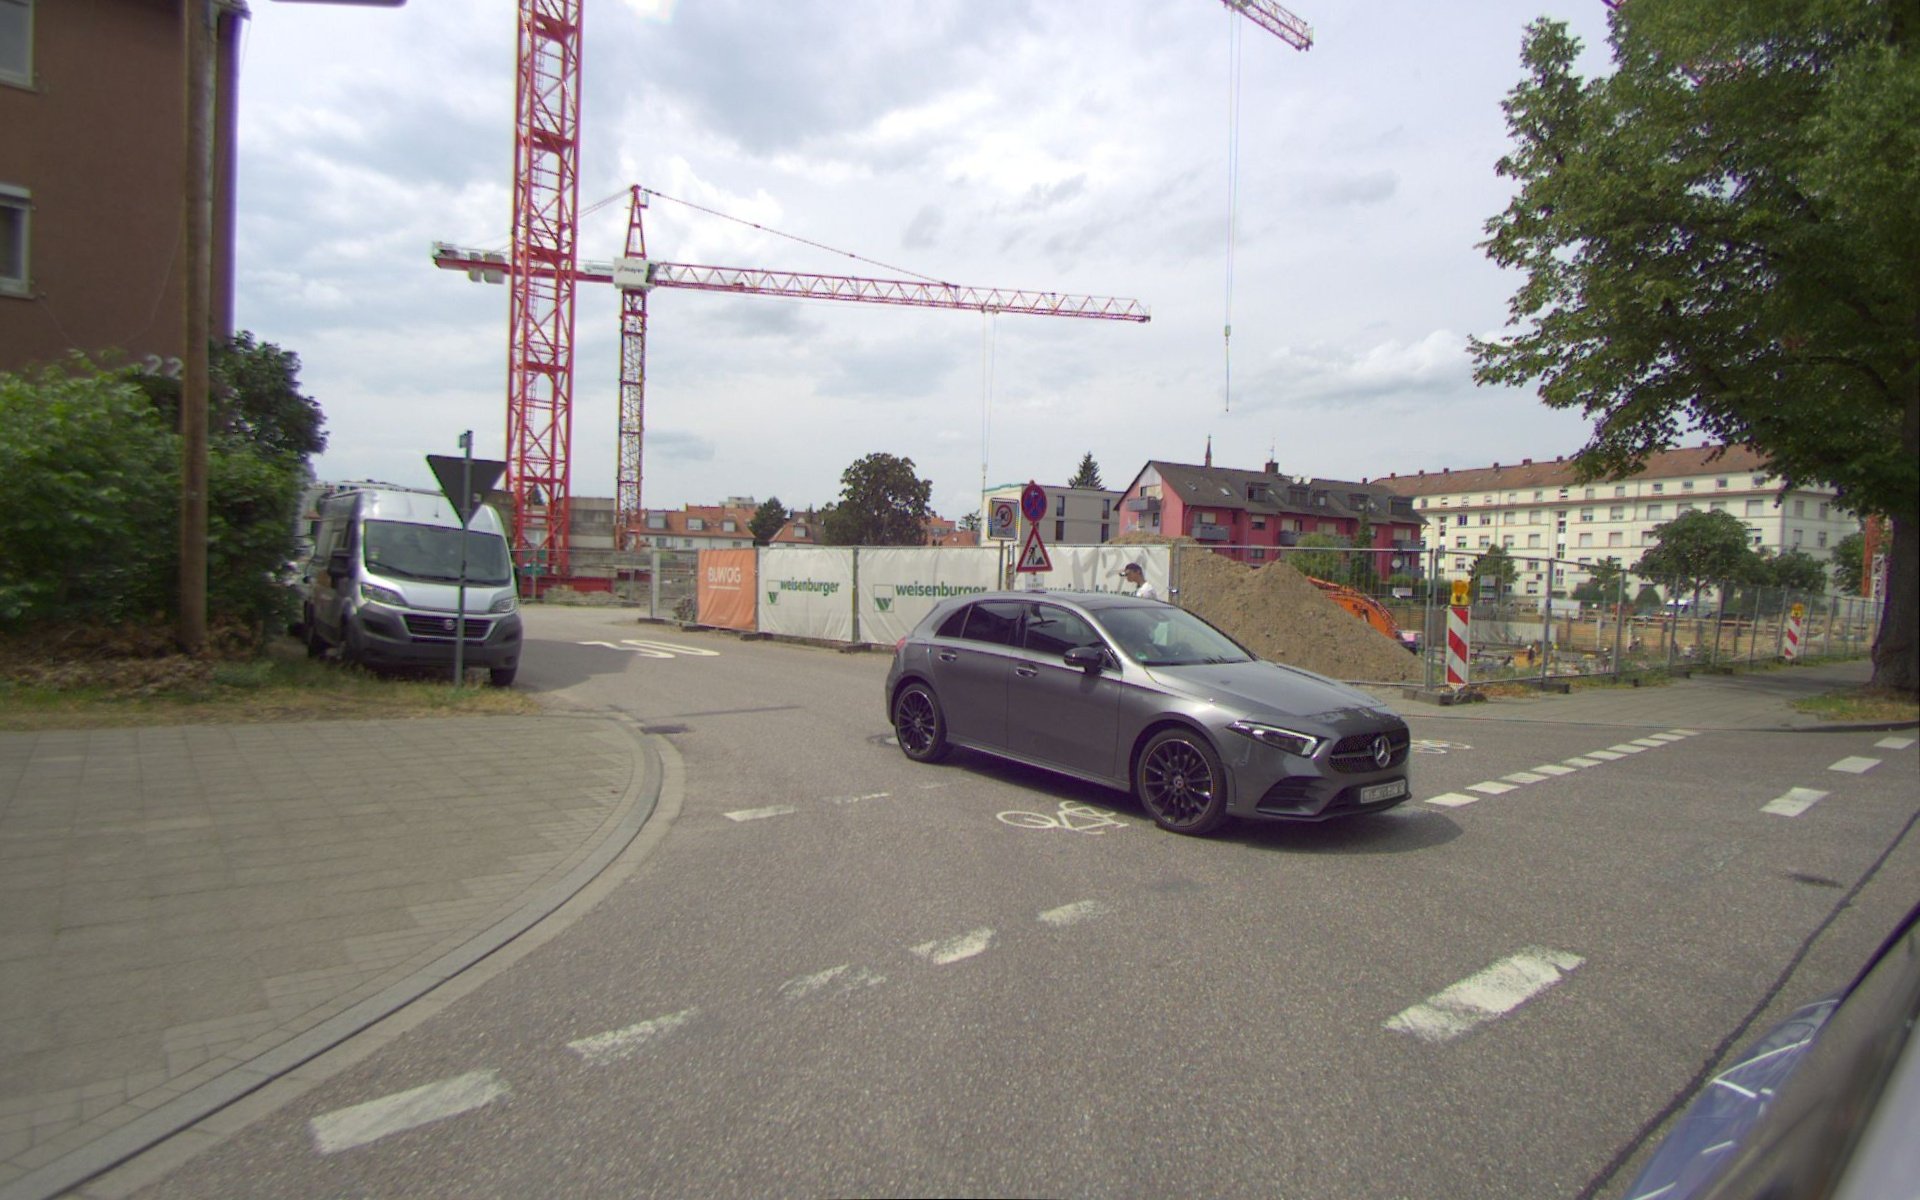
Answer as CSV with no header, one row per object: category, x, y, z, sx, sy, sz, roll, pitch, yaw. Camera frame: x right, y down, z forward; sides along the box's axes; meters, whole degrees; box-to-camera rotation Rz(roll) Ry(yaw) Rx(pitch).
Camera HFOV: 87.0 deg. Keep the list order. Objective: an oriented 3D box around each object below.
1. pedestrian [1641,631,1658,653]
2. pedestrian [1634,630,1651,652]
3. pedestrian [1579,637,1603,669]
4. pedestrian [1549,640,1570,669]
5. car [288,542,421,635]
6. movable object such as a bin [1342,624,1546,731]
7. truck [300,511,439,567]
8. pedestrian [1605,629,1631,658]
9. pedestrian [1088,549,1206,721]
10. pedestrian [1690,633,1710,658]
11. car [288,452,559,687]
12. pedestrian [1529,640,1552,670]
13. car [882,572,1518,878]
pedestrian,56.964,3.444,83.588,0.706,1.743,0.846,3,2,-4
pedestrian,56.152,3.351,83.266,0.706,1.743,0.846,3,2,-4
pedestrian,36.326,3.051,58.268,0.705,1.743,0.847,2,3,-25
pedestrian,38.934,3.524,65.707,0.707,1.743,0.845,3,2,1
car,-13.259,-0.305,22.039,1.867,1.740,4.206,4,1,-39
movable object such as a bin,14.914,2.285,31.520,3.068,2.621,4.709,2,3,-26
truck,-50.537,-5.218,86.953,10.060,4.182,3.357,1,3,-30
pedestrian,42.553,2.830,65.459,0.965,1.743,0.845,3,2,1
pedestrian,2.095,0.369,11.436,0.870,1.836,0.887,2,3,-22
pedestrian,56.107,3.442,76.727,0.706,1.743,0.846,3,2,-4
car,-7.777,-0.435,14.315,2.293,2.665,5.488,4,1,-39
pedestrian,35.902,3.404,62.591,0.828,1.743,0.722,3,2,-7
car,1.464,0.595,7.649,1.975,1.460,4.383,-2,4,-39
